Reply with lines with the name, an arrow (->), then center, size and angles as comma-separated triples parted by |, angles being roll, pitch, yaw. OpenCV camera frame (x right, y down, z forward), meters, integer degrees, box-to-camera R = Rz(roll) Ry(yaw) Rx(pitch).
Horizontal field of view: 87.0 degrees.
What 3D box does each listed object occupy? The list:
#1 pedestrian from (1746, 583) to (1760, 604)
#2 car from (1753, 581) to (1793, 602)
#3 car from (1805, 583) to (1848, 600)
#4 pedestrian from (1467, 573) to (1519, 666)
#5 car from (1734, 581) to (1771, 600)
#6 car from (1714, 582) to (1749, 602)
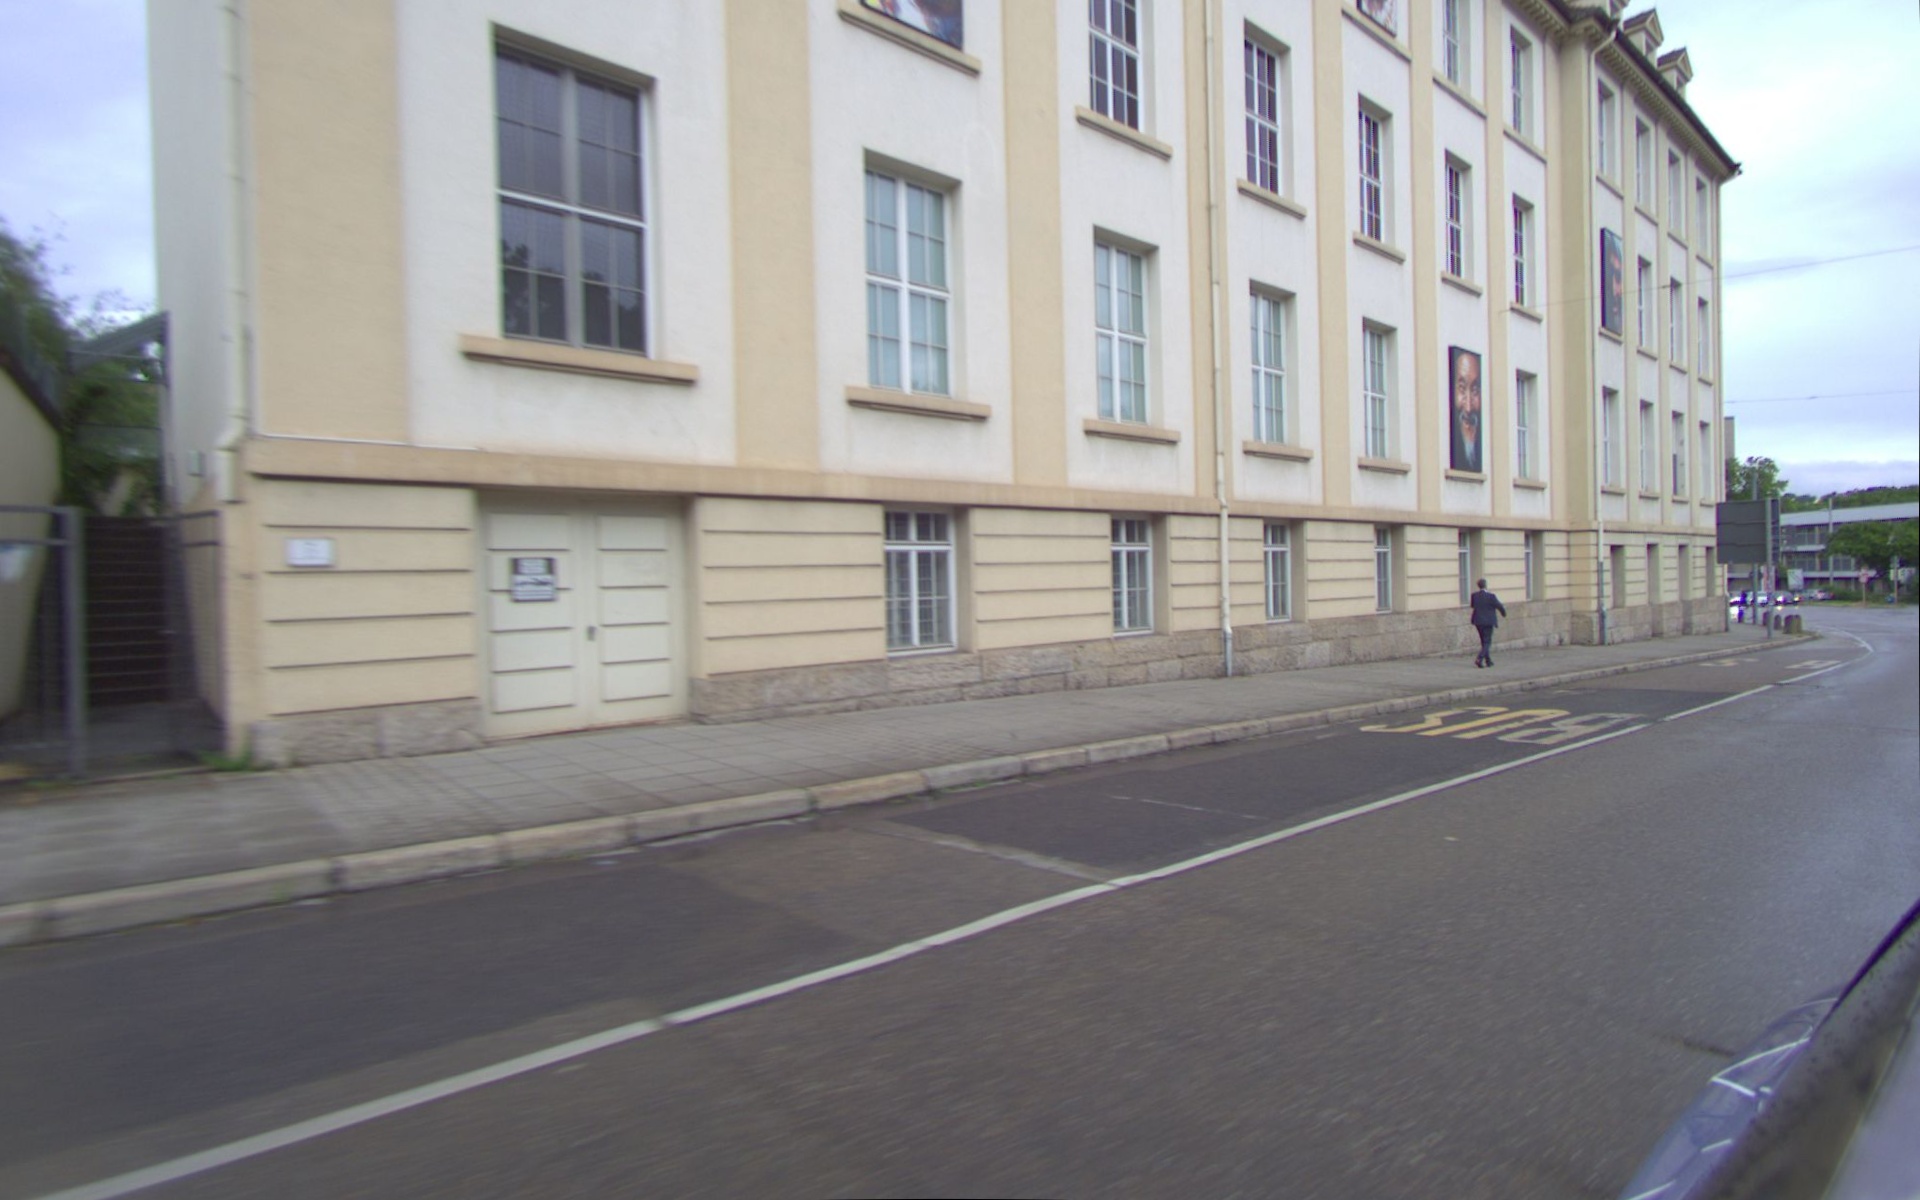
pedestrian -> 70.865, -0.579, 90.405 | 0.900, 1.819, 0.533 | -3, -1, 43
car -> 77.292, -0.822, 96.273 | 2.057, 1.935, 4.521 | 0, 1, 27
car -> 97.335, -0.959, 113.779 | 2.049, 1.935, 4.324 | 0, 1, 17
pedestrian -> 10.810, 0.372, 20.512 | 0.837, 1.820, 0.671 | -1, 1, -40
car -> 79.682, -0.927, 101.826 | 2.057, 1.850, 4.521 | 0, 1, 27
car -> 74.846, -0.805, 98.246 | 1.866, 1.892, 4.307 | 0, 1, 27
